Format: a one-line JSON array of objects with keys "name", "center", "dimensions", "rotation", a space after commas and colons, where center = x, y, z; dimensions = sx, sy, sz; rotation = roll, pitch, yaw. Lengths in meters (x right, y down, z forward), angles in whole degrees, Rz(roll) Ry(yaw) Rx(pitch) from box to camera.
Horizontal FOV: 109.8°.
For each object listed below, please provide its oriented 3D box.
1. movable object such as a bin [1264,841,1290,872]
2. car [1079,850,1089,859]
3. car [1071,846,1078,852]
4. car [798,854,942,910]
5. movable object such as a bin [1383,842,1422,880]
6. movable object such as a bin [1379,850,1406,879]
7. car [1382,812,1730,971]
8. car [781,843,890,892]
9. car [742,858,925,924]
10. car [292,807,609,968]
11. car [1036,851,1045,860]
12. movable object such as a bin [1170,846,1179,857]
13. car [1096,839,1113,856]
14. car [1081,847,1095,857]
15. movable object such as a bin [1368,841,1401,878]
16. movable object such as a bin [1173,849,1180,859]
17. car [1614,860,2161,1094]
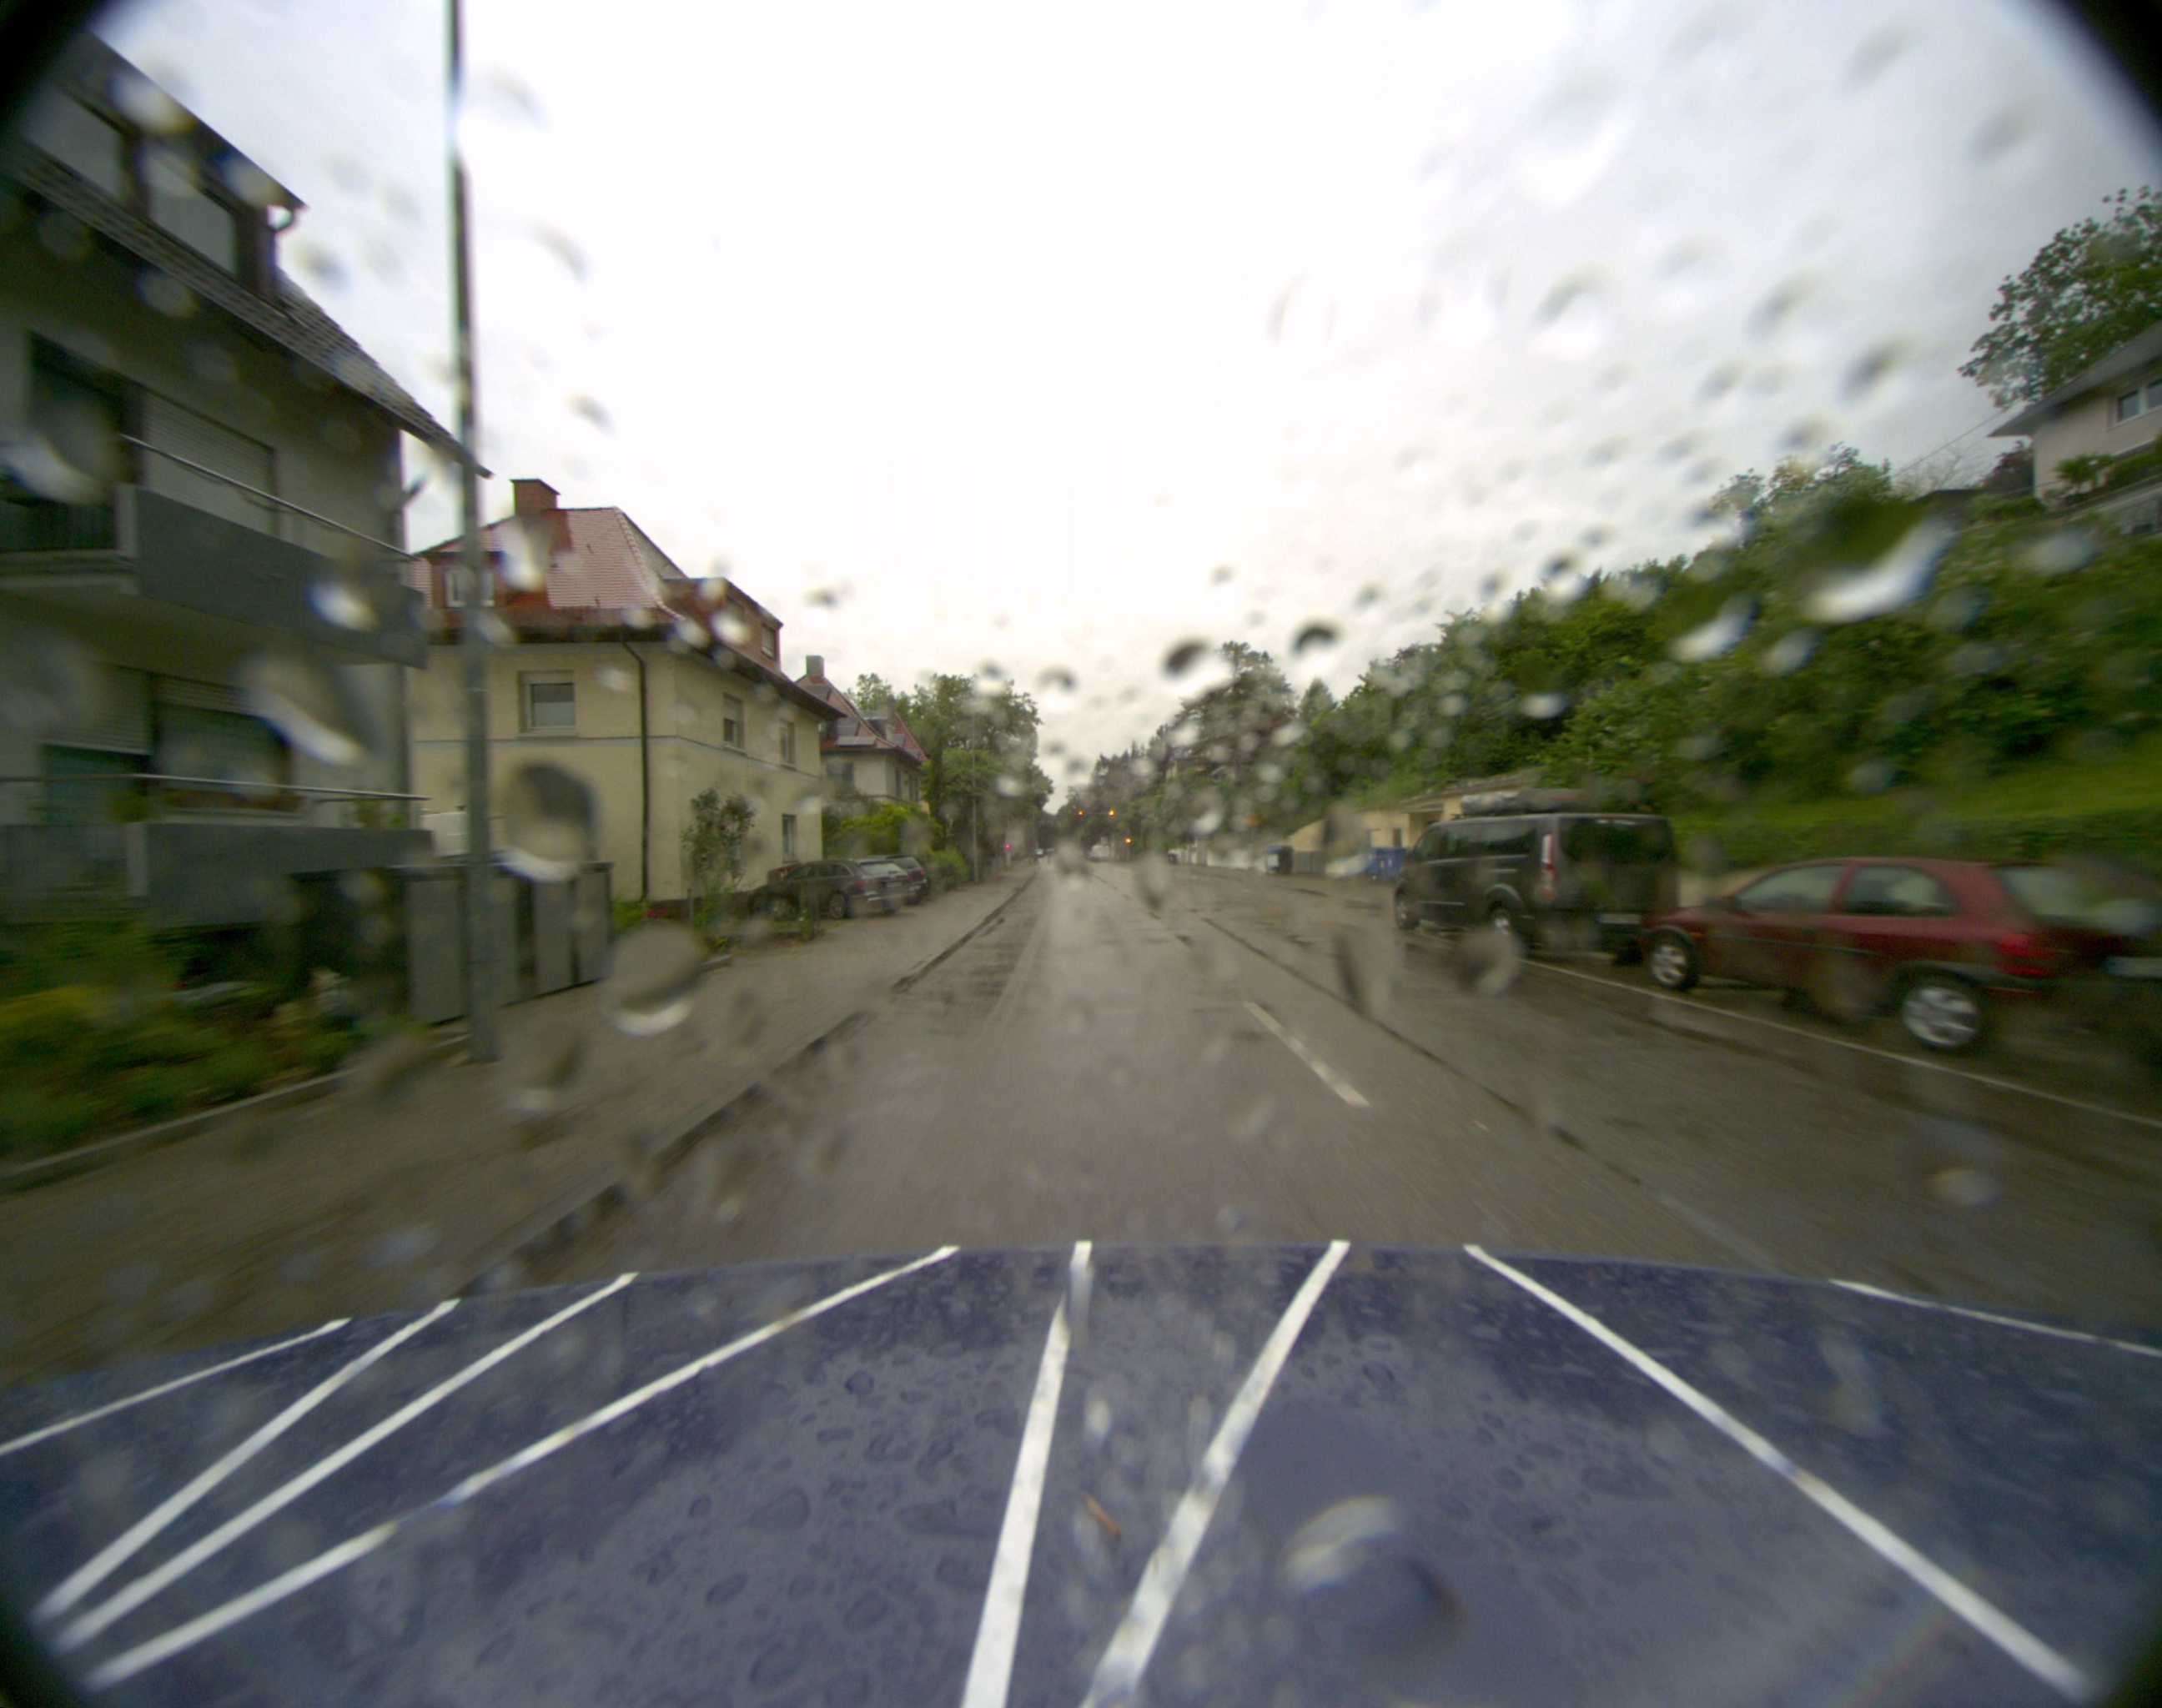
[{"name": "movable object such as a bin", "center": [9.976, 0.120, 38.699], "dimensions": [0.935, 1.437, 0.861], "rotation": [-5, 2, -2]}, {"name": "car", "center": [0.586, 0.124, 161.797], "dimensions": [1.925, 1.747, 3.998], "rotation": [-3, 1, -2]}, {"name": "car", "center": [-1.930, -1.597, 231.497], "dimensions": [1.925, 1.889, 4.000], "rotation": [-2, 1, 3]}, {"name": "car", "center": [-6.121, 0.784, 21.937], "dimensions": [3.989, 1.448, 1.775], "rotation": [-1, 0, 34]}, {"name": "movable object such as a bin", "center": [11.501, 0.248, 27.199], "dimensions": [0.822, 1.307, 1.402], "rotation": [-2, 0, 3]}, {"name": "movable object such as a bin", "center": [11.623, 0.382, 28.379], "dimensions": [0.737, 1.036, 0.607], "rotation": [-2, 1, 3]}, {"name": "car", "center": [6.776, 0.423, 11.837], "dimensions": [2.164, 1.908, 5.323], "rotation": [0, 1, 1]}, {"name": "car", "center": [-10.684, 0.563, 33.225], "dimensions": [3.997, 1.571, 1.821], "rotation": [-8, 1, 2]}, {"name": "car", "center": [-6.124, 0.869, 18.670], "dimensions": [4.370, 1.356, 1.923], "rotation": [-1, 2, 34]}, {"name": "car", "center": [-12.122, 0.649, 14.854], "dimensions": [4.471, 2.742, 2.007], "rotation": [-2, -2, -1]}, {"name": "car", "center": [-8.925, 0.263, 169.048], "dimensions": [1.925, 1.889, 3.998], "rotation": [-3, 1, -2]}, {"name": "movable object such as a bin", "center": [8.725, -0.233, 71.114], "dimensions": [0.683, 1.034, 0.657], "rotation": [-3, 1, -4]}, {"name": "car", "center": [3.451, -0.939, 112.141], "dimensions": [2.085, 2.464, 4.851], "rotation": [1, 1, -4]}, {"name": "car", "center": [1.255, -0.385, 137.812], "dimensions": [2.163, 1.815, 4.914], "rotation": [1, 1, -4]}, {"name": "movable object such as a bin", "center": [11.712, 0.196, 29.337], "dimensions": [0.822, 1.374, 1.135], "rotation": [-2, 0, 3]}, {"name": "movable object such as a bin", "center": [8.785, -0.047, 69.802], "dimensions": [0.532, 0.893, 0.416], "rotation": [-3, 1, -4]}, {"name": "car", "center": [6.803, 0.772, 6.594], "dimensions": [1.568, 1.357, 3.906], "rotation": [0, 1, 0]}]
